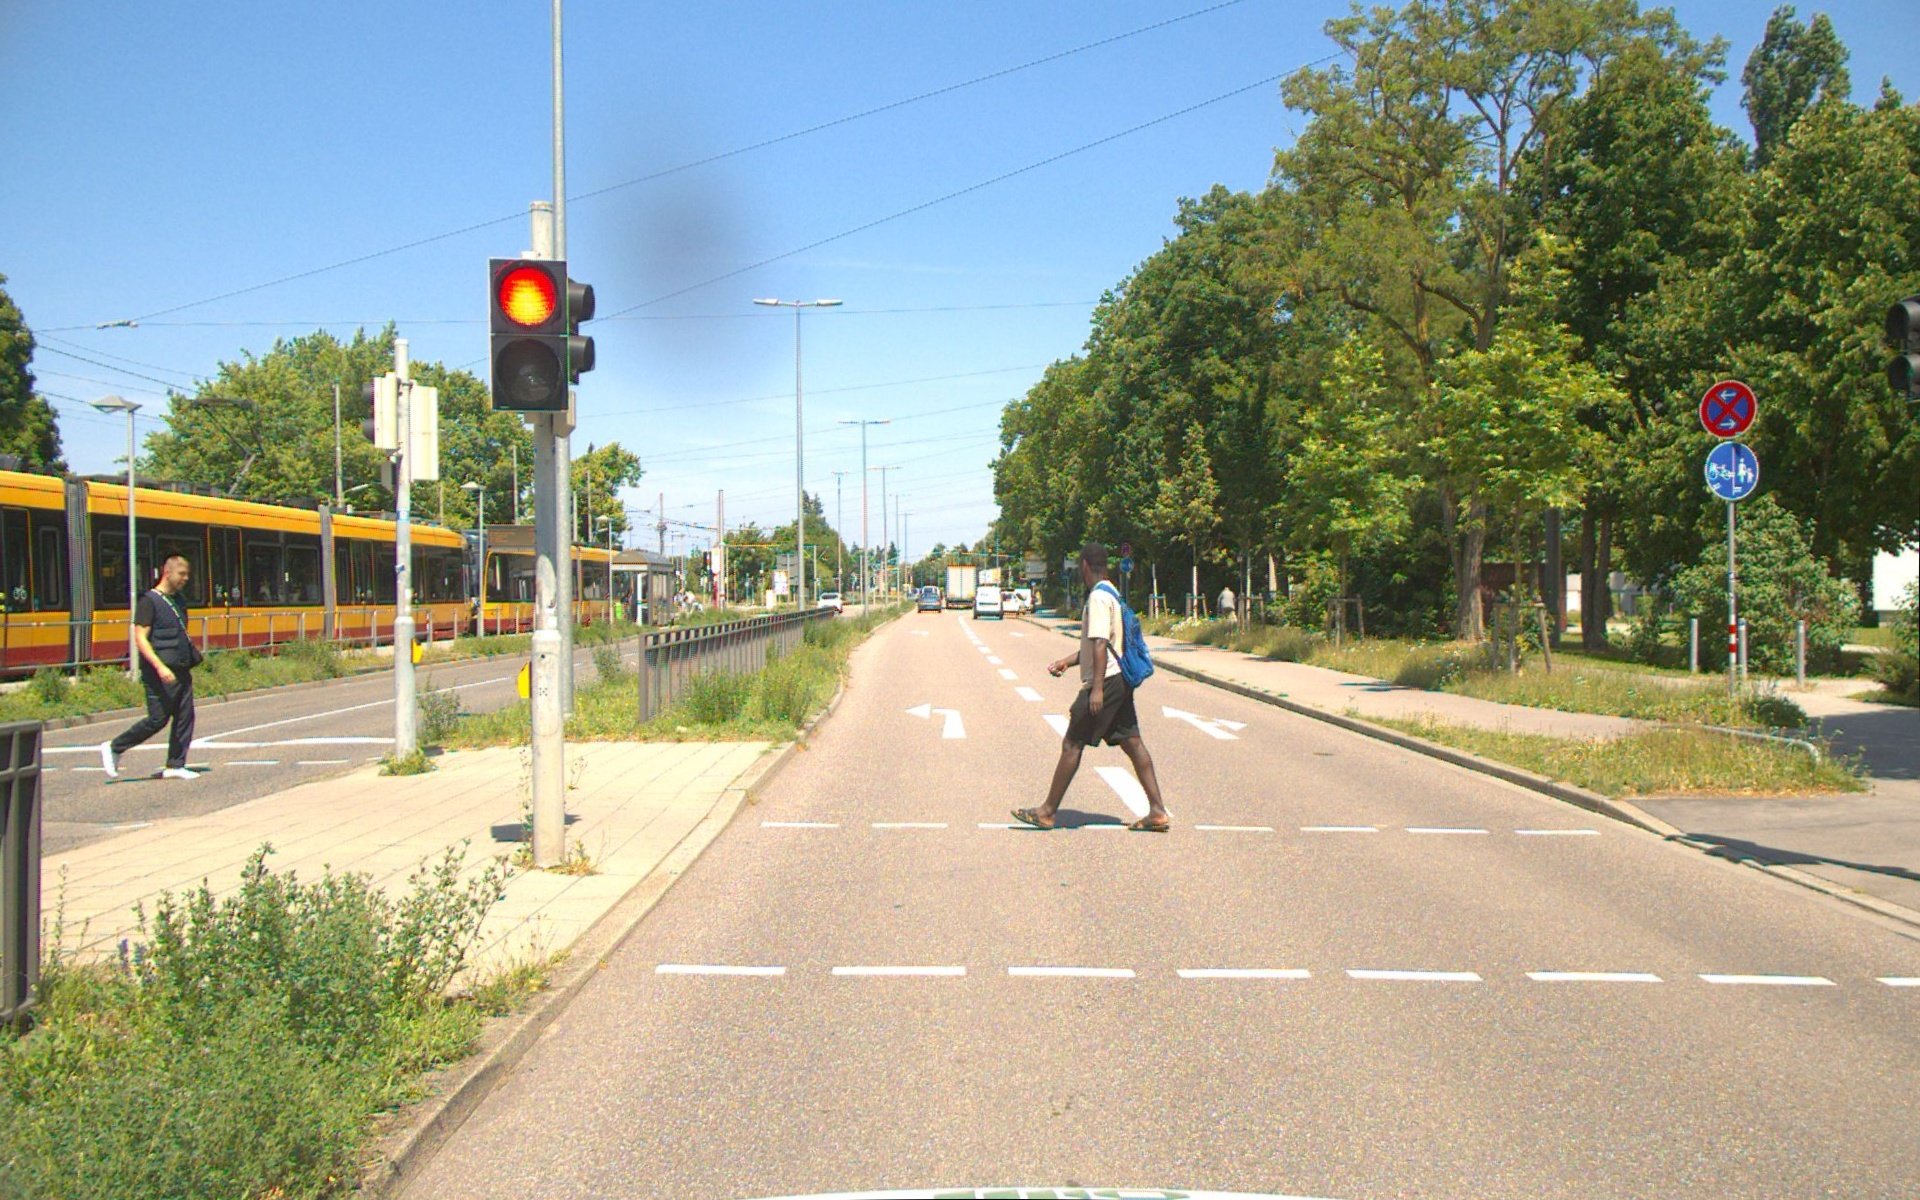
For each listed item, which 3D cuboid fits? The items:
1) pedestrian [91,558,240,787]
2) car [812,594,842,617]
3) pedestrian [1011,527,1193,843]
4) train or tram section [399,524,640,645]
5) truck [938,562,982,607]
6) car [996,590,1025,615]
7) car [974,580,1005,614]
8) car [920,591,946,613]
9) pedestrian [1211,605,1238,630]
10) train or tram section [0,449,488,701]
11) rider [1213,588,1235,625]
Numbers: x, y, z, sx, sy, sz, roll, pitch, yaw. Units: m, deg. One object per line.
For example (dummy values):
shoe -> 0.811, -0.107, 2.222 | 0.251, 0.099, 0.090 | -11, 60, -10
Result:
pedestrian -> -6.587, 0.575, 13.715 | 0.939, 1.828, 0.704 | 0, 0, 28
car -> -9.965, 0.405, 124.062 | 1.953, 1.679, 3.999 | 0, 0, -1
pedestrian -> 0.900, 0.501, 10.333 | 1.024, 1.882, 0.758 | 0, 0, 13
train or tram section -> -16.117, -0.548, 64.048 | 2.731, 3.732, 25.994 | 0, 0, -1
truck -> -0.089, -1.370, 148.650 | 3.820, 3.879, 10.790 | 0, 0, -1
car -> 3.334, 0.126, 110.459 | 1.766, 1.566, 4.000 | 1, 1, -1
car -> 1.693, -0.191, 93.812 | 1.692, 1.845, 4.001 | 1, 0, 2
car -> -1.877, 0.100, 117.023 | 1.764, 1.512, 4.000 | 0, 0, 0
pedestrian -> 9.241, 0.603, 57.843 | 0.664, 0.862, 1.773 | 0, 0, -1
train or tram section -> -15.694, -0.409, 32.358 | 2.731, 3.732, 37.511 | 0, 0, -1
rider -> 9.233, 0.225, 57.837 | 0.664, 1.304, 0.533 | 0, 0, -1
